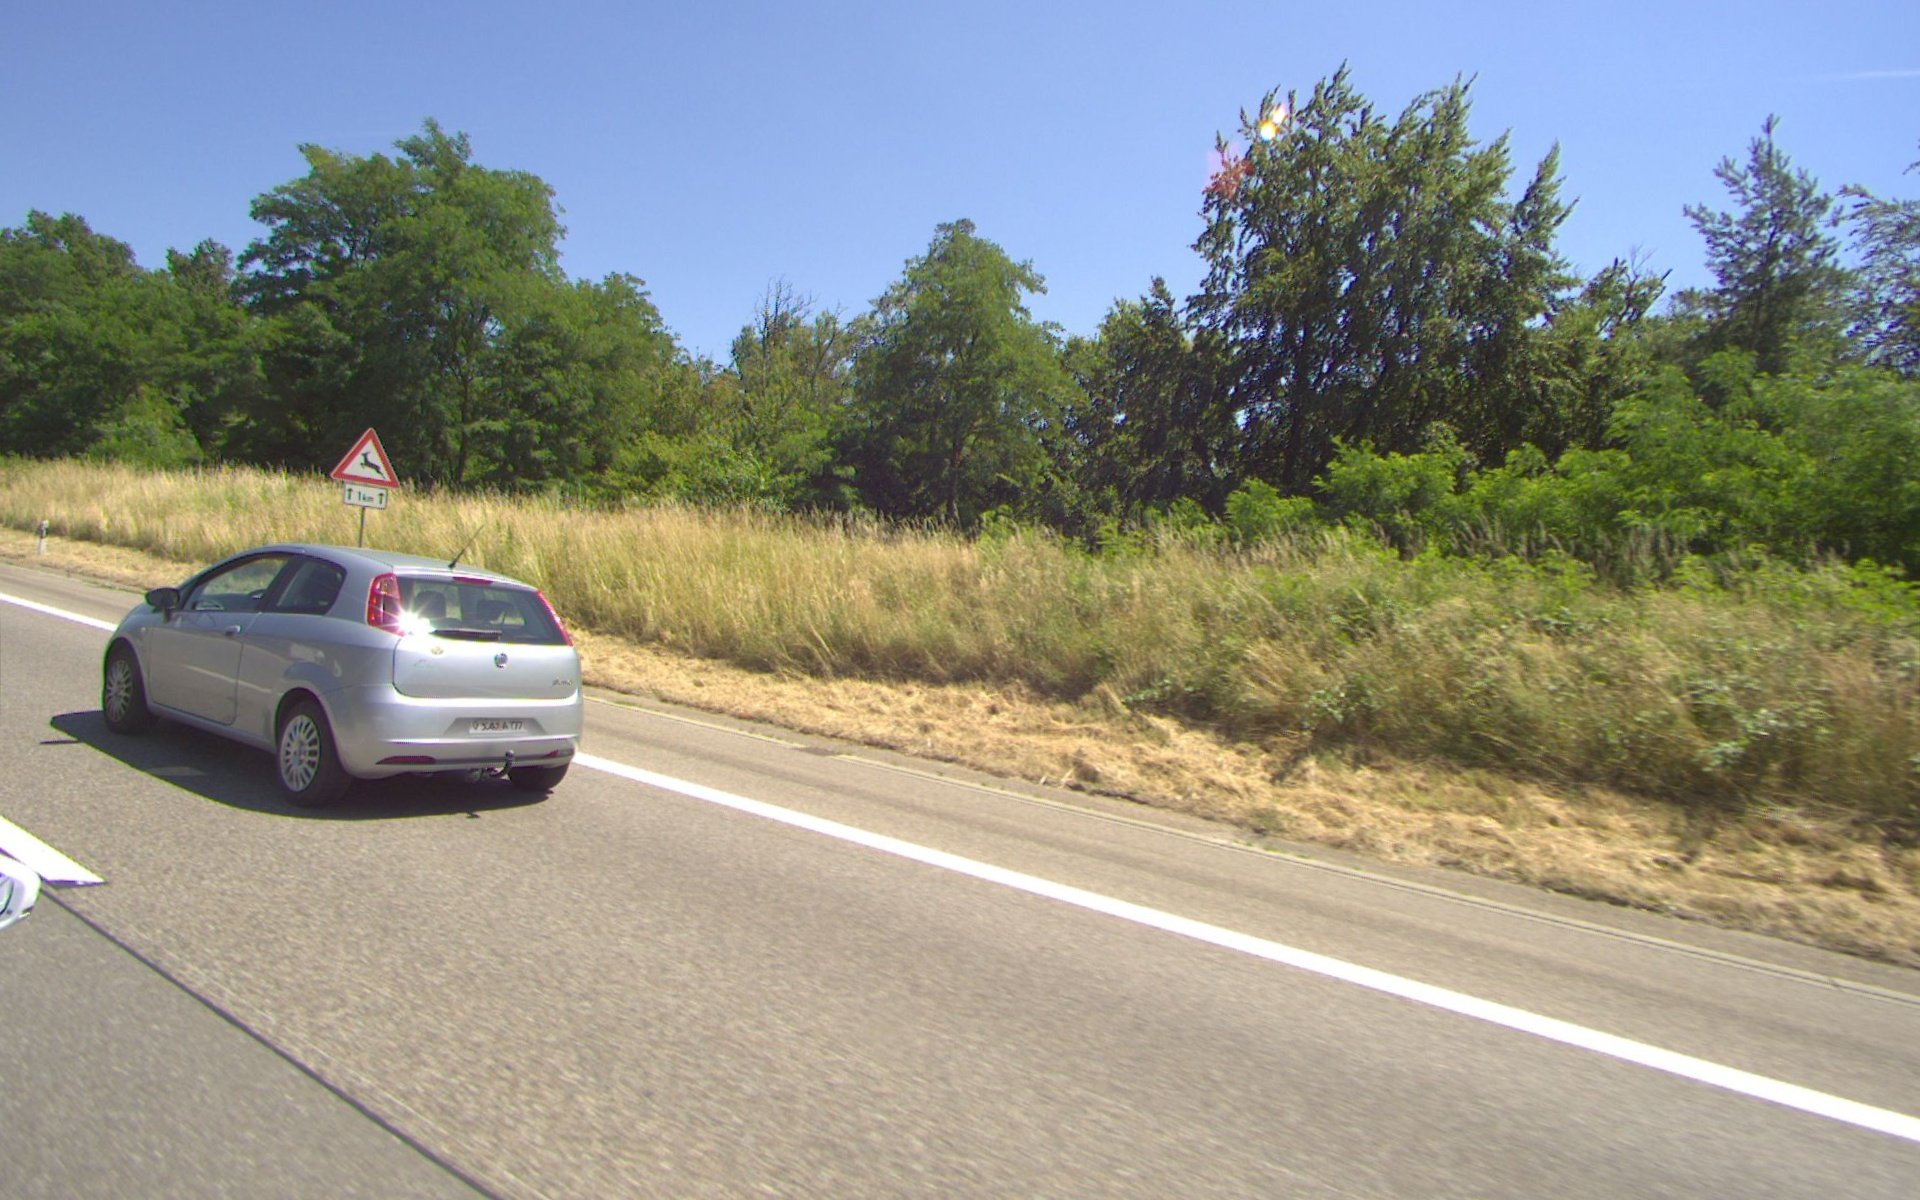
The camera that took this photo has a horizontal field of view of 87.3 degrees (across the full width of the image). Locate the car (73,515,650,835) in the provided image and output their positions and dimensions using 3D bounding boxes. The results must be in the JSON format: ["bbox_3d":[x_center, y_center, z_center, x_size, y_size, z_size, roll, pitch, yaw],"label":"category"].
[{"bbox_3d":[-4.249,0.386,6.994,3.915,1.483,1.748,6,-2,32],"label":"car"}]
